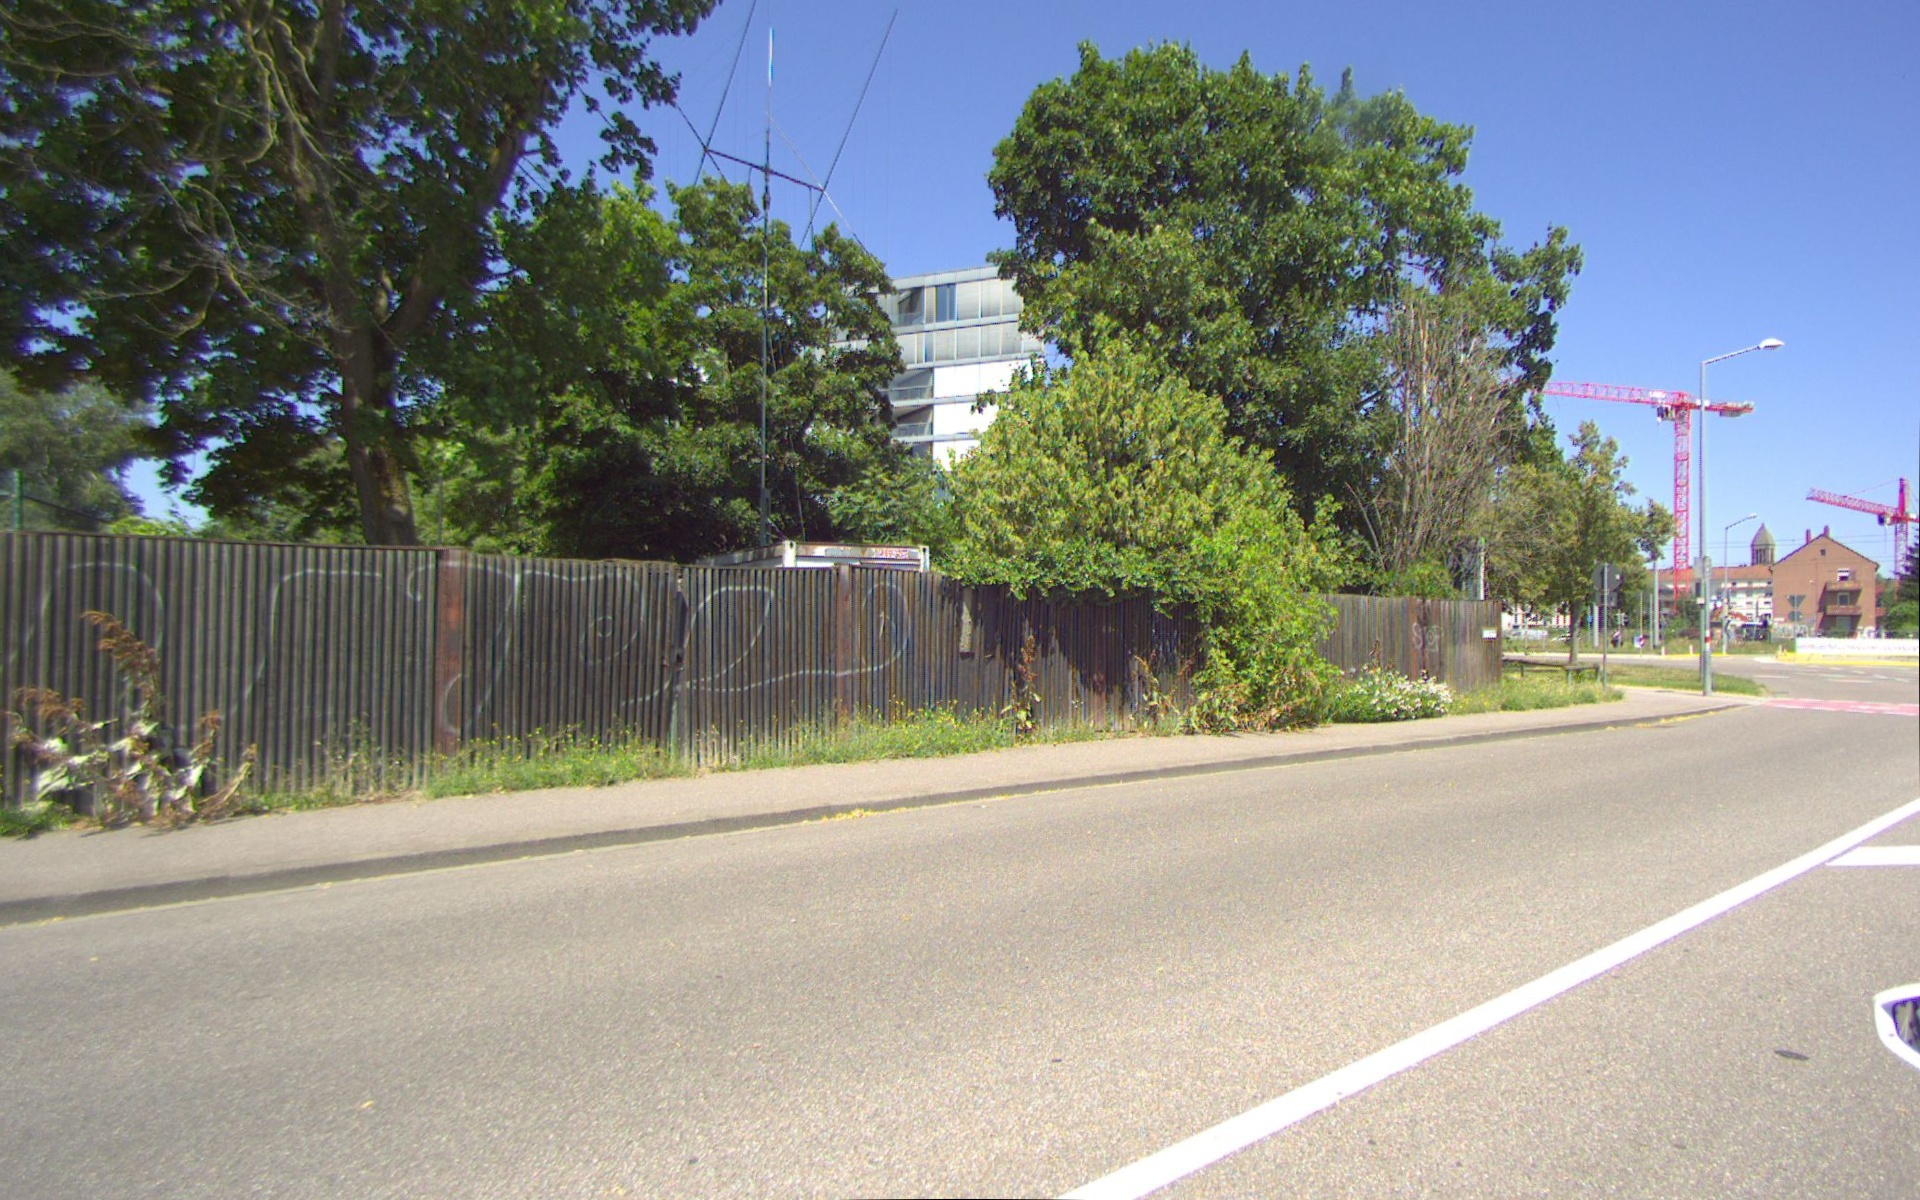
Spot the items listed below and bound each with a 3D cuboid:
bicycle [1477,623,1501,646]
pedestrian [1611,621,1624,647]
[{"bbox_3d":[39.303,2.568,74.575,2.061,1.707,0.555,2,0,-30],"label":"bicycle"},{"bbox_3d":[54.195,2.805,82.803,0.588,2.040,0.598,2,0,-30],"label":"pedestrian"}]
